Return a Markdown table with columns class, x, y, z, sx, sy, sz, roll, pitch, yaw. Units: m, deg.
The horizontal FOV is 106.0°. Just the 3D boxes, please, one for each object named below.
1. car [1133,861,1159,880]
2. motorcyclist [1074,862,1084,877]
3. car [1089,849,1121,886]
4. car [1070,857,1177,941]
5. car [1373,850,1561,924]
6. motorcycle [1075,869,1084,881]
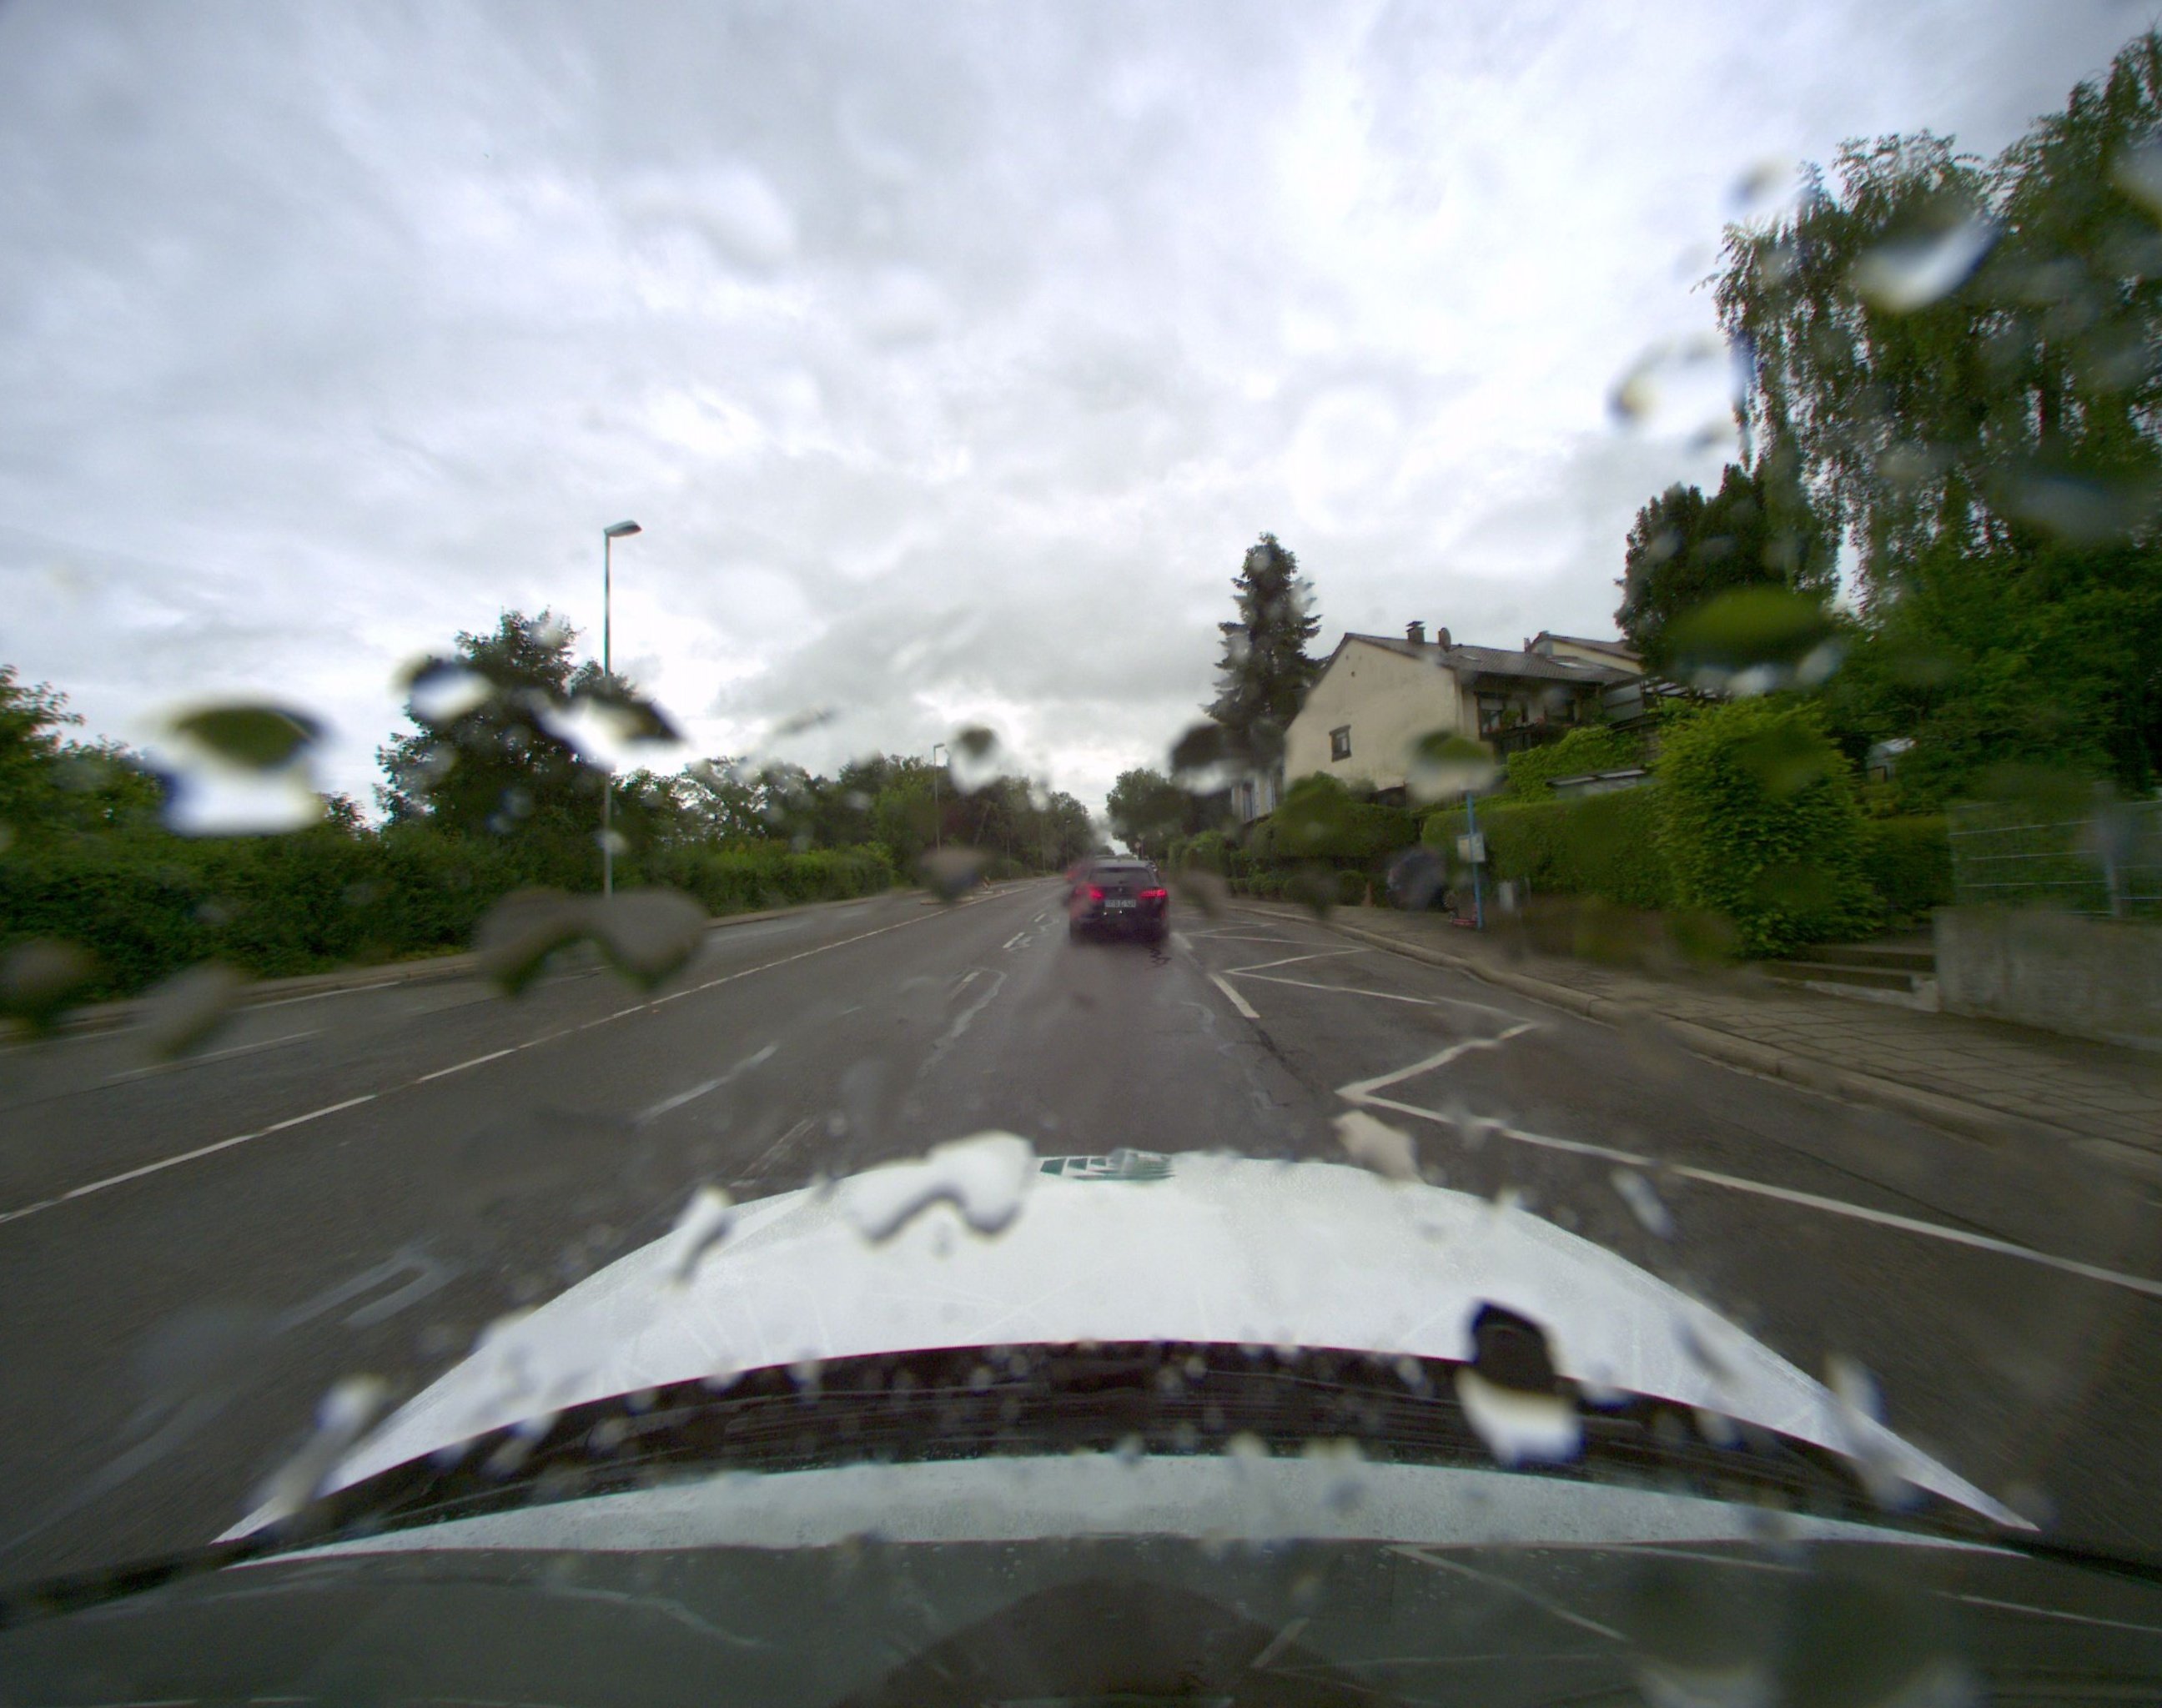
| class | x | y | z | sx | sy | sz | roll | pitch | yaw |
| --- | --- | --- | --- | --- | --- | --- | --- | --- | --- |
| car | 5.299 | 1.302 | 66.503 | 1.927 | 1.442 | 4.413 | -3 | -1 | 4 |
| motorcyclist | -0.176 | 1.608 | 85.744 | 1.036 | 1.568 | 0.855 | 0 | -1 | 1 |
| car | 1.332 | 0.713 | 44.914 | 1.623 | 1.833 | 4.001 | -3 | 0 | 2 |
| car | 0.842 | 0.815 | 16.426 | 1.889 | 1.489 | 4.003 | 0 | -1 | 3 |
| car | 8.889 | 0.795 | 18.793 | 3.706 | 1.298 | 1.761 | 6 | -4 | -19 |
| motorcycle | -0.176 | 2.196 | 85.692 | 0.873 | 1.124 | 2.742 | -2 | -1 | 2 |
